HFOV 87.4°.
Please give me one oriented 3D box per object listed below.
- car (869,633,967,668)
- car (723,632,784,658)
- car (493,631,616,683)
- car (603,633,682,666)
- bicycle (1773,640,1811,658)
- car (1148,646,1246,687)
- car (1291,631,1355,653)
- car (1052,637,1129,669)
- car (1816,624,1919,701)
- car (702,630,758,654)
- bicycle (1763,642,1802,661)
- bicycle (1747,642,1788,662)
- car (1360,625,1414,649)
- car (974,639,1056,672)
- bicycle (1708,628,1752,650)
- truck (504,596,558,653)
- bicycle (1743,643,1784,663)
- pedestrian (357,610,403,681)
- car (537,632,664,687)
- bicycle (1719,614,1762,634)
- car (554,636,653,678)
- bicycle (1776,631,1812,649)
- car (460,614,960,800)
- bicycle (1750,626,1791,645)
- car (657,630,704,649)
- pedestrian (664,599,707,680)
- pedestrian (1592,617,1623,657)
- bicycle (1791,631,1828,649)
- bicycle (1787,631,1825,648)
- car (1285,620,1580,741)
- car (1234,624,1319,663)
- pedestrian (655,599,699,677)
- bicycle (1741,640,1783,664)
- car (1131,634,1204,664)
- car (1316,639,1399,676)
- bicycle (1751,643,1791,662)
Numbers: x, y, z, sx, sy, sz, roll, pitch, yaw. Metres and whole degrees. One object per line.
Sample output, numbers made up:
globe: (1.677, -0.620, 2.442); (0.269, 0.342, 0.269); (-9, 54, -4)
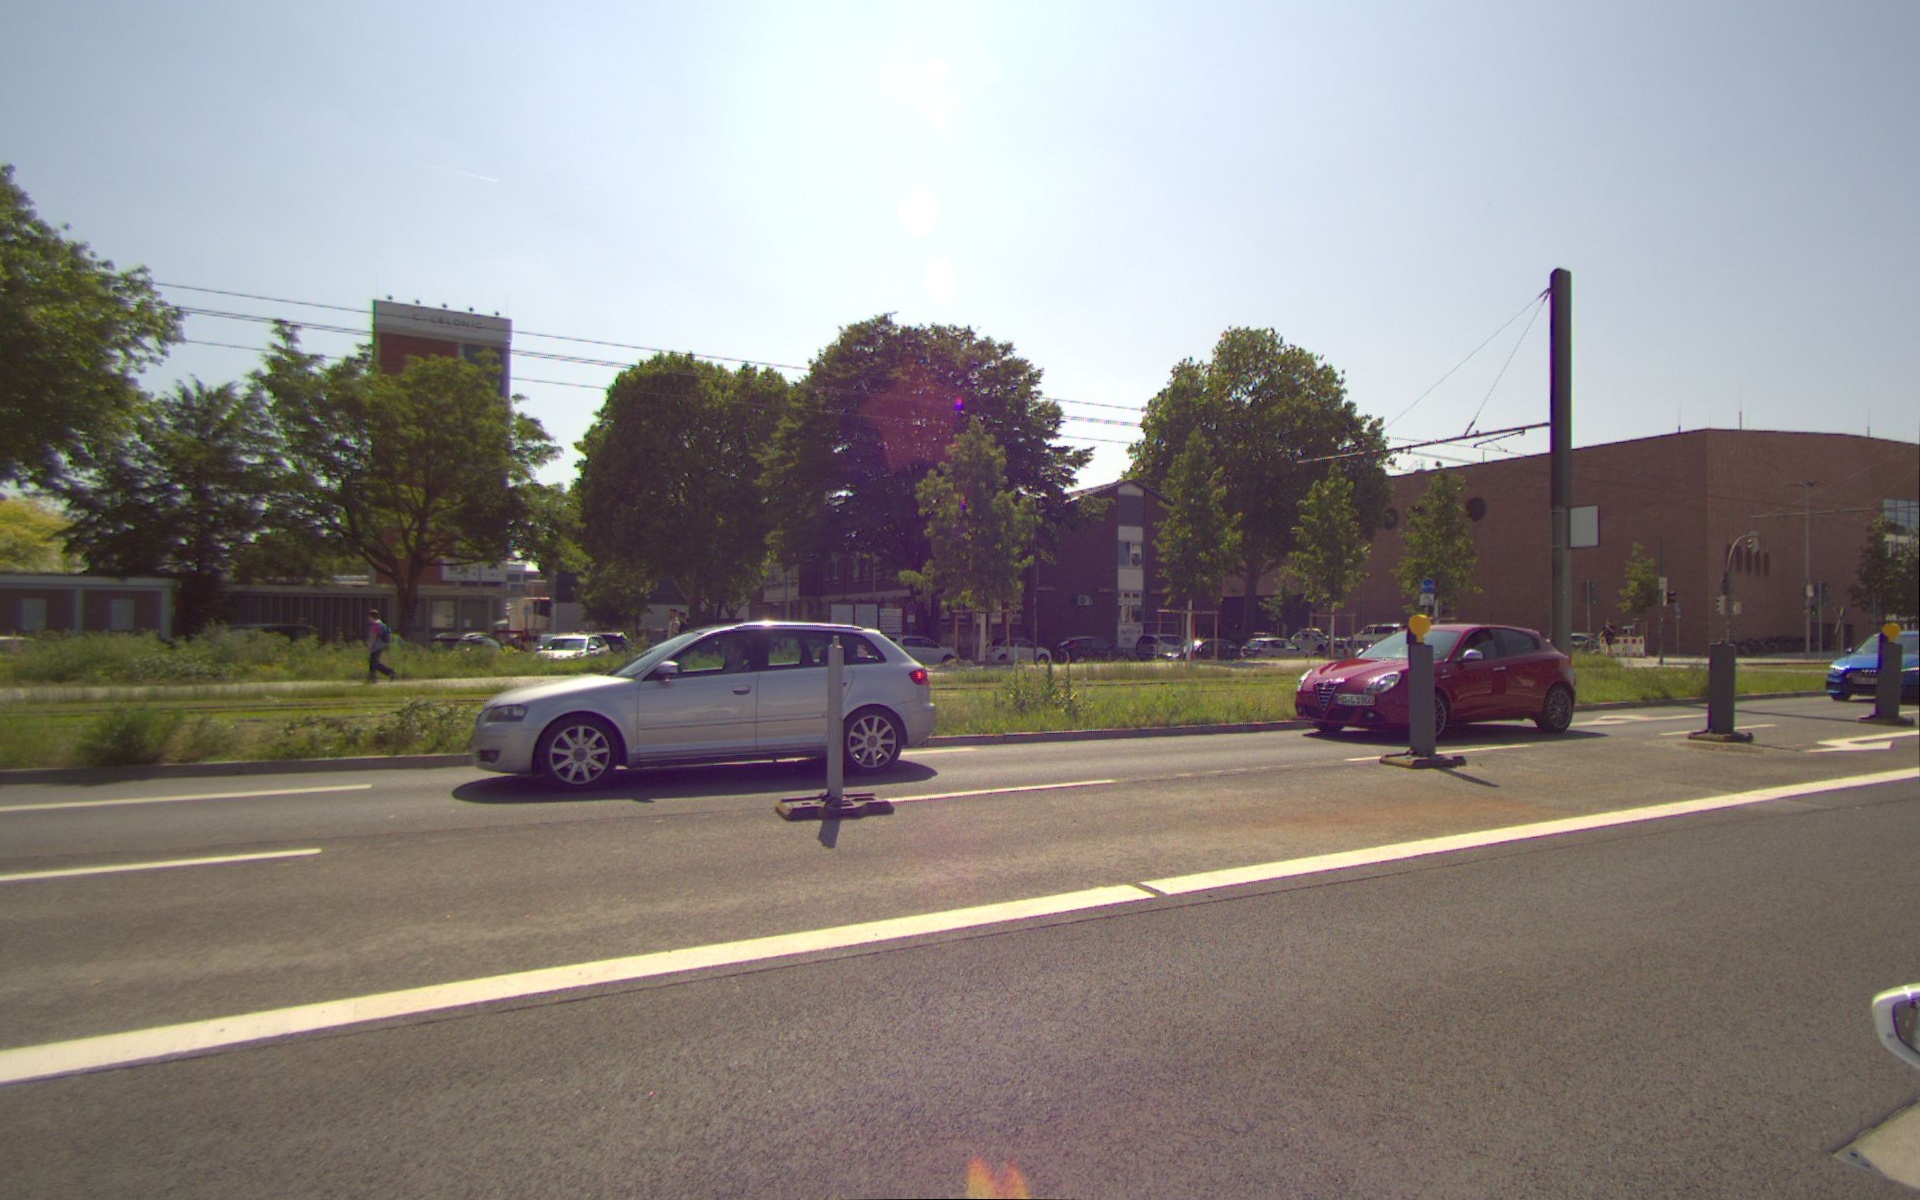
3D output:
car: (-1.903, 2.282, 45.833); (4.214, 1.476, 1.532); (1, -1, -29)
car: (-12.433, 2.695, 60.432); (3.307, 1.472, 1.529); (1, 0, -30)
car: (-13.845, 1.895, 34.334); (3.599, 1.612, 1.757); (1, 0, -34)
car: (-14.885, 2.296, 47.099); (3.307, 1.472, 1.529); (1, 0, -30)
bicycle: (58.701, 3.460, 70.883); (0.535, 1.228, 2.035); (1, -1, -38)
car: (11.076, 3.094, 46.960); (4.475, 1.784, 1.691); (2, -1, -29)
car: (25.982, 2.971, 72.001); (1.977, 1.421, 3.968); (2, -1, -30)
car: (6.583, 2.636, 50.445); (3.745, 1.476, 1.530); (1, -1, -32)
car: (19.510, 1.236, 20.575); (4.238, 1.446, 1.621); (1, -2, -29)
car: (-15.077, 2.733, 65.804); (3.307, 1.472, 1.529); (1, 0, -30)
bicycle: (56.565, 3.541, 69.099); (0.535, 1.228, 2.035); (1, -1, -38)
bicycle: (52.766, 3.404, 65.656); (0.535, 1.228, 2.035); (1, -1, -38)
car: (32.593, 2.805, 76.688); (1.672, 1.712, 3.529); (1, 0, -28)
car: (2.672, 2.631, 48.172); (3.746, 1.476, 1.530); (2, -1, -33)
bicycle: (46.856, 2.375, 61.141); (0.535, 1.228, 2.035); (1, 1, -38)
truck: (-35.257, 1.858, 82.237); (2.854, 4.136, 12.546); (1, 0, -29)
bicycle: (52.173, 3.442, 65.223); (0.535, 1.228, 2.035); (1, -1, -38)
pedestrian: (-13.524, 1.057, 23.436); (0.815, 1.597, 0.812); (1, 1, -23)
car: (-11.728, 1.903, 32.850); (3.599, 1.612, 1.757); (1, 0, -34)
bicycle: (48.901, 1.478, 62.942); (0.535, 1.228, 2.034); (1, -1, -40)
car: (-14.955, 2.364, 42.165); (3.599, 1.612, 1.757); (1, 0, -34)
bicycle: (59.290, 2.809, 71.400); (0.739, 1.228, 1.871); (1, -1, -35)
car: (-2.243, 0.897, 9.379); (4.237, 1.435, 1.576); (1, -2, -24)
bicycle: (53.928, 2.355, 66.843); (0.535, 1.228, 2.035); (1, -1, -38)
car: (-21.887, 3.080, 78.612); (3.307, 1.472, 1.529); (1, 0, -30)
pedestrian: (-7.131, 1.006, 26.057); (0.898, 2.040, 0.980); (1, 0, -26)
pedestrian: (31.043, 1.763, 48.134); (1.093, 1.871, 0.809); (1, -1, -26)
bicycle: (62.198, 2.936, 73.572); (0.535, 1.228, 2.035); (1, -1, -38)
bicycle: (61.816, 2.861, 73.423); (0.535, 1.228, 2.035); (1, -1, -38)
car: (6.421, 1.031, 13.595); (3.949, 1.435, 1.574); (2, -2, -28)
car: (15.485, 2.138, 49.129); (3.891, 1.784, 1.691); (2, -1, -28)
pedestrian: (-7.582, 0.996, 26.898); (0.970, 2.040, 0.836); (1, 0, -26)
bicycle: (50.766, 3.289, 63.618); (0.535, 1.472, 2.035); (1, -1, -38)
car: (11.075, 2.598, 53.558); (3.741, 1.476, 1.532); (1, -1, -29)
car: (20.655, 2.992, 52.219); (4.248, 1.784, 1.691); (2, -1, -29)
bicycle: (54.618, 3.513, 67.641); (0.535, 1.228, 2.035); (1, -1, -38)
